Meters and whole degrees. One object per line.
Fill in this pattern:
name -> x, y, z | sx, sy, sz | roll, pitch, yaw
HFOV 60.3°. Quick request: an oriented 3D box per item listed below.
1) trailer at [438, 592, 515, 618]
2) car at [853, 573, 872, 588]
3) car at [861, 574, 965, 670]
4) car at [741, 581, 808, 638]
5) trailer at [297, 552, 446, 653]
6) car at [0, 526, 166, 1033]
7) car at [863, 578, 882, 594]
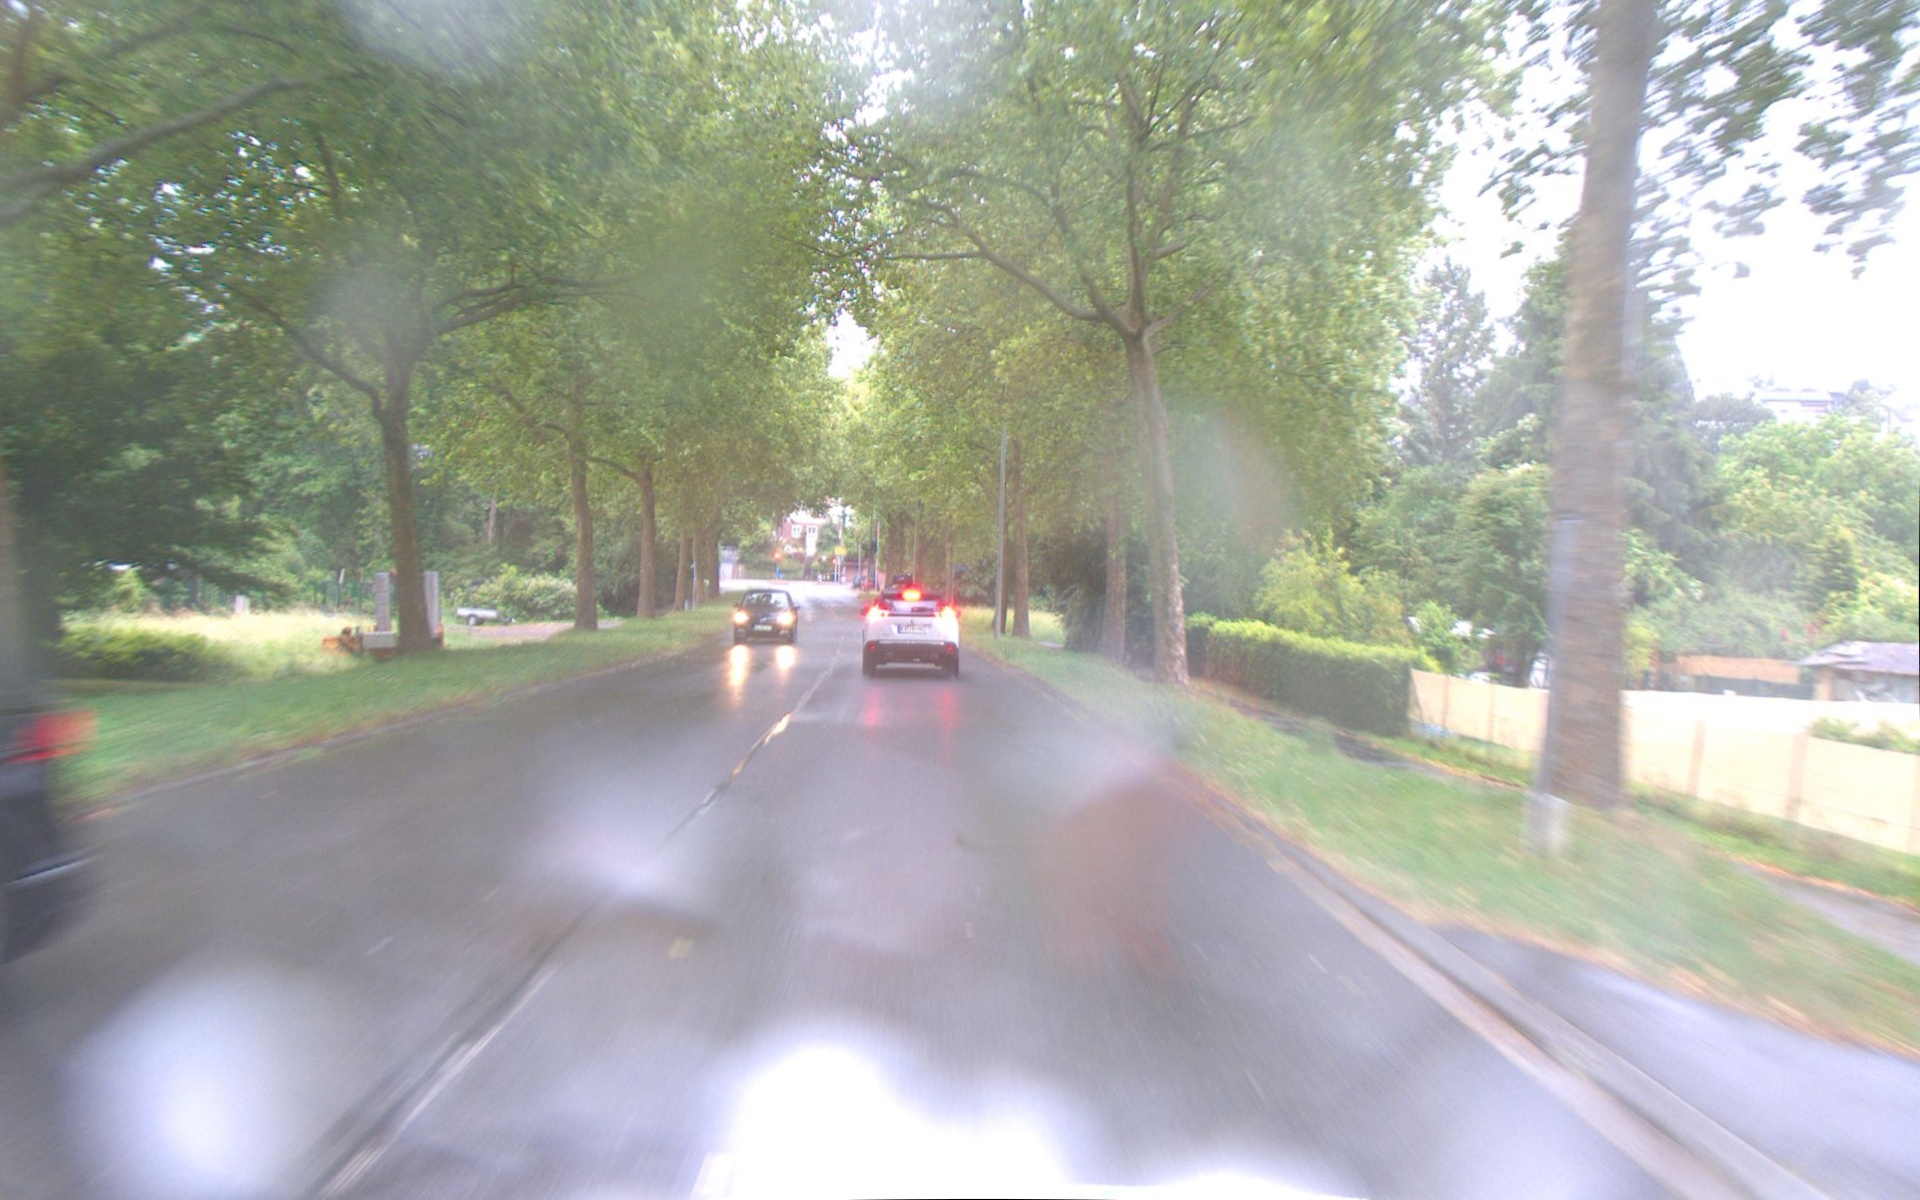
trailer -> -24.043, 0.229, 82.374 | 3.489, 1.199, 1.818 | 1, 1, -10
car -> -10.781, -2.175, 183.149 | 1.790, 1.624, 3.653 | 2, 0, -1
car -> -0.839, 0.350, 30.816 | 1.757, 1.606, 3.844 | 2, 1, -1
car -> -5.301, 0.251, 47.624 | 1.673, 1.512, 3.878 | 2, 0, -4
trailer -> -16.482, 0.037, 46.669 | 2.435, 2.612, 5.330 | 2, 0, -3
car -> -4.405, 0.540, 4.153 | 1.696, 1.616, 4.310 | 2, 0, 22
car -> -9.232, -1.502, 174.036 | 1.790, 1.624, 3.653 | 2, 0, -1
